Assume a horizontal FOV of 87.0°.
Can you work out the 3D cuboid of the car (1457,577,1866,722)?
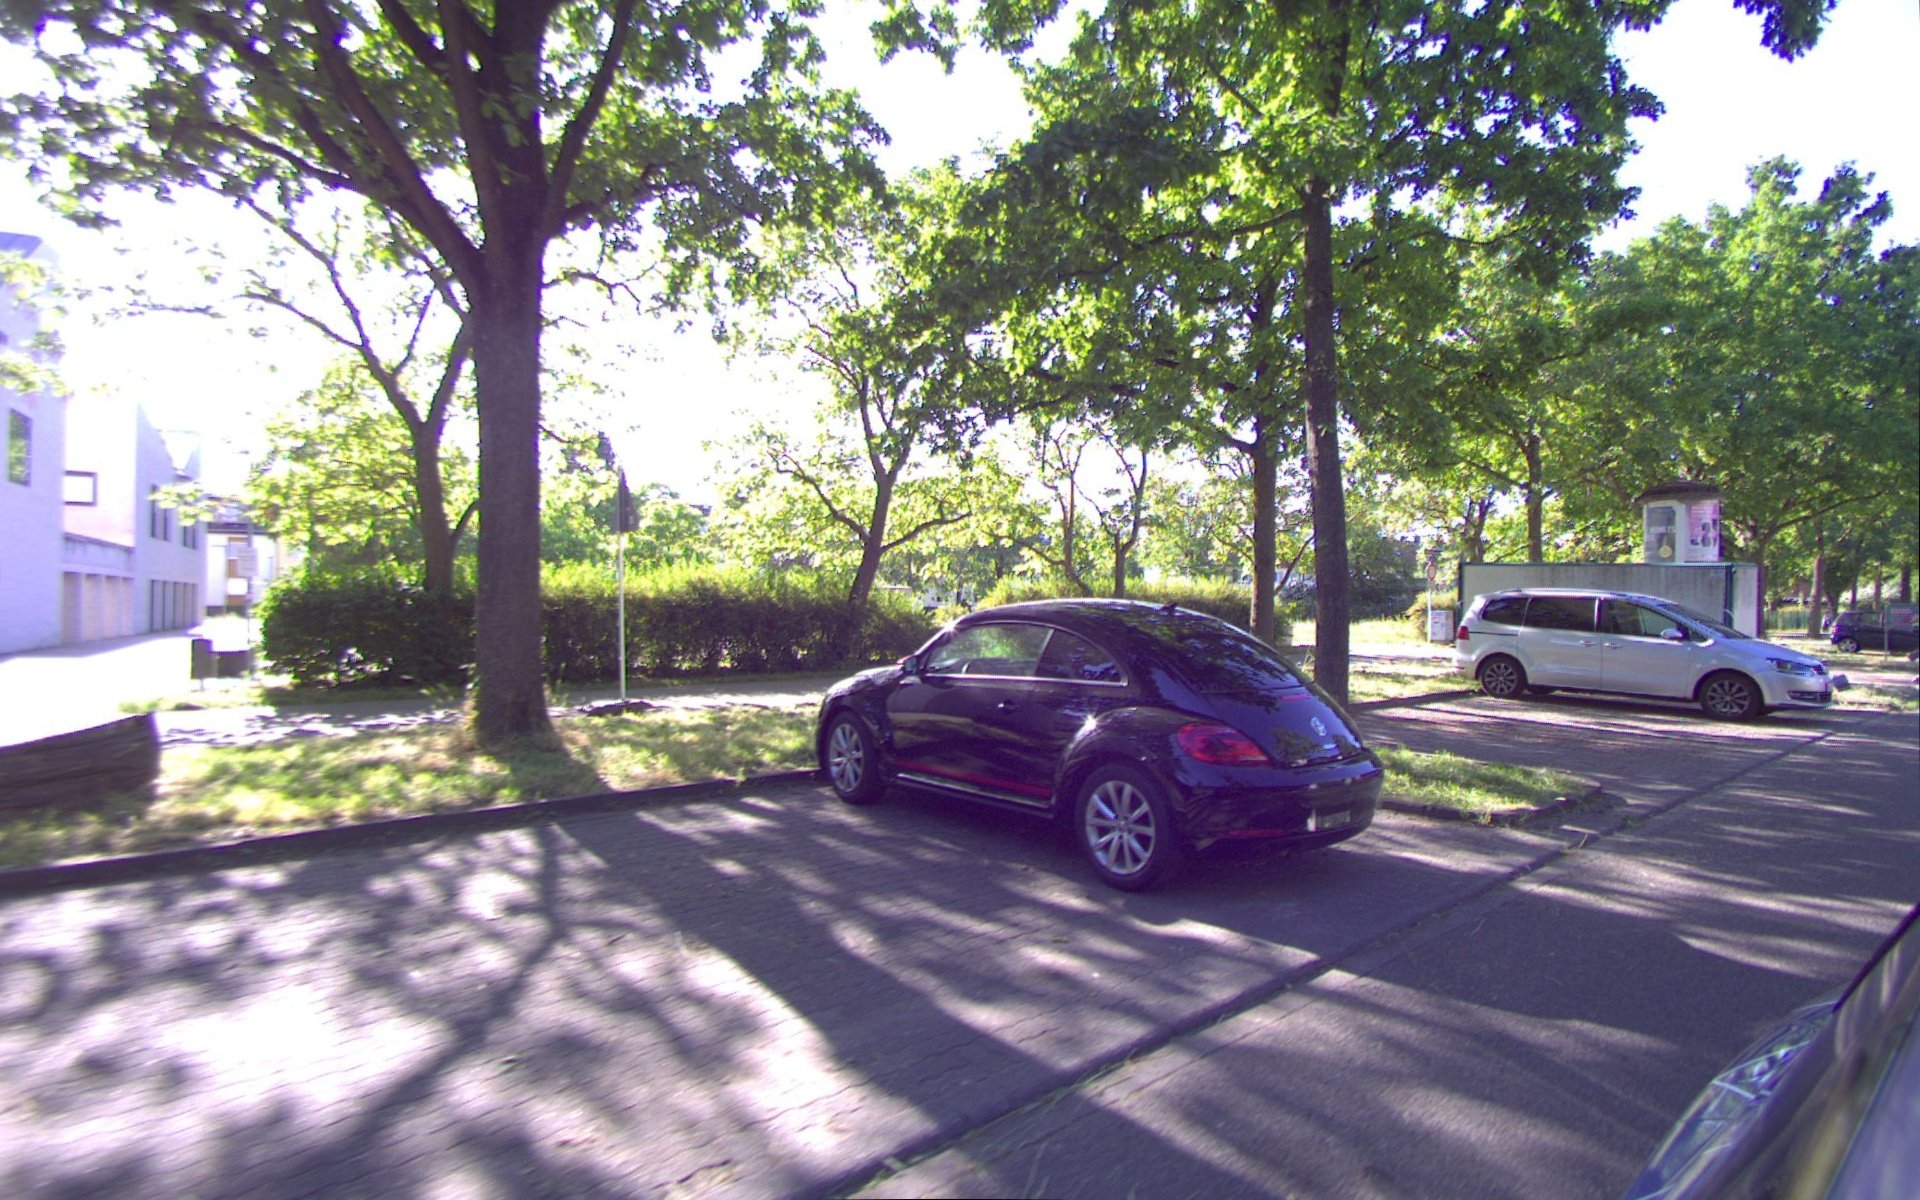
[{"bbox_3d":[10.244,0.590,15.118,1.952,1.744,4.652,1,1,-40],"label":"car"}]

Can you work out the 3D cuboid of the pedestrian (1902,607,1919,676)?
[{"bbox_3d":[21.606,0.932,22.279,0.866,1.519,0.945,1,0,-20],"label":"pedestrian"}]

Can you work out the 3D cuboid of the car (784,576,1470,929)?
[{"bbox_3d":[0.783,0.645,6.789,2.041,1.538,4.255,1,1,-39],"label":"car"}]

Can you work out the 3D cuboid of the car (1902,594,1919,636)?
[{"bbox_3d":[48.852,0.794,48.817,1.910,2.057,4.811,1,1,-41],"label":"car"}]

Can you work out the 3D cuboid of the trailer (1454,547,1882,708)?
[{"bbox_3d":[11.874,0.303,17.496,1.655,2.346,5.790,1,1,-38],"label":"trailer"}]

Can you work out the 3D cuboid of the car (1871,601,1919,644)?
[{"bbox_3d":[37.975,0.900,39.316,1.754,1.596,3.592,0,1,-39],"label":"car"}]

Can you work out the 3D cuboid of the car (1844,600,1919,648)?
[{"bbox_3d":[34.198,0.863,36.277,1.825,1.596,3.590,0,1,-41],"label":"car"}]

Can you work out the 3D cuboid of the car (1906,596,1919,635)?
[{"bbox_3d":[47.226,0.783,47.512,1.769,1.860,4.013,0,1,-43],"label":"car"}]

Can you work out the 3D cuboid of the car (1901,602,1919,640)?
[{"bbox_3d":[41.662,0.925,42.067,1.635,1.551,3.529,0,1,-39],"label":"car"}]
